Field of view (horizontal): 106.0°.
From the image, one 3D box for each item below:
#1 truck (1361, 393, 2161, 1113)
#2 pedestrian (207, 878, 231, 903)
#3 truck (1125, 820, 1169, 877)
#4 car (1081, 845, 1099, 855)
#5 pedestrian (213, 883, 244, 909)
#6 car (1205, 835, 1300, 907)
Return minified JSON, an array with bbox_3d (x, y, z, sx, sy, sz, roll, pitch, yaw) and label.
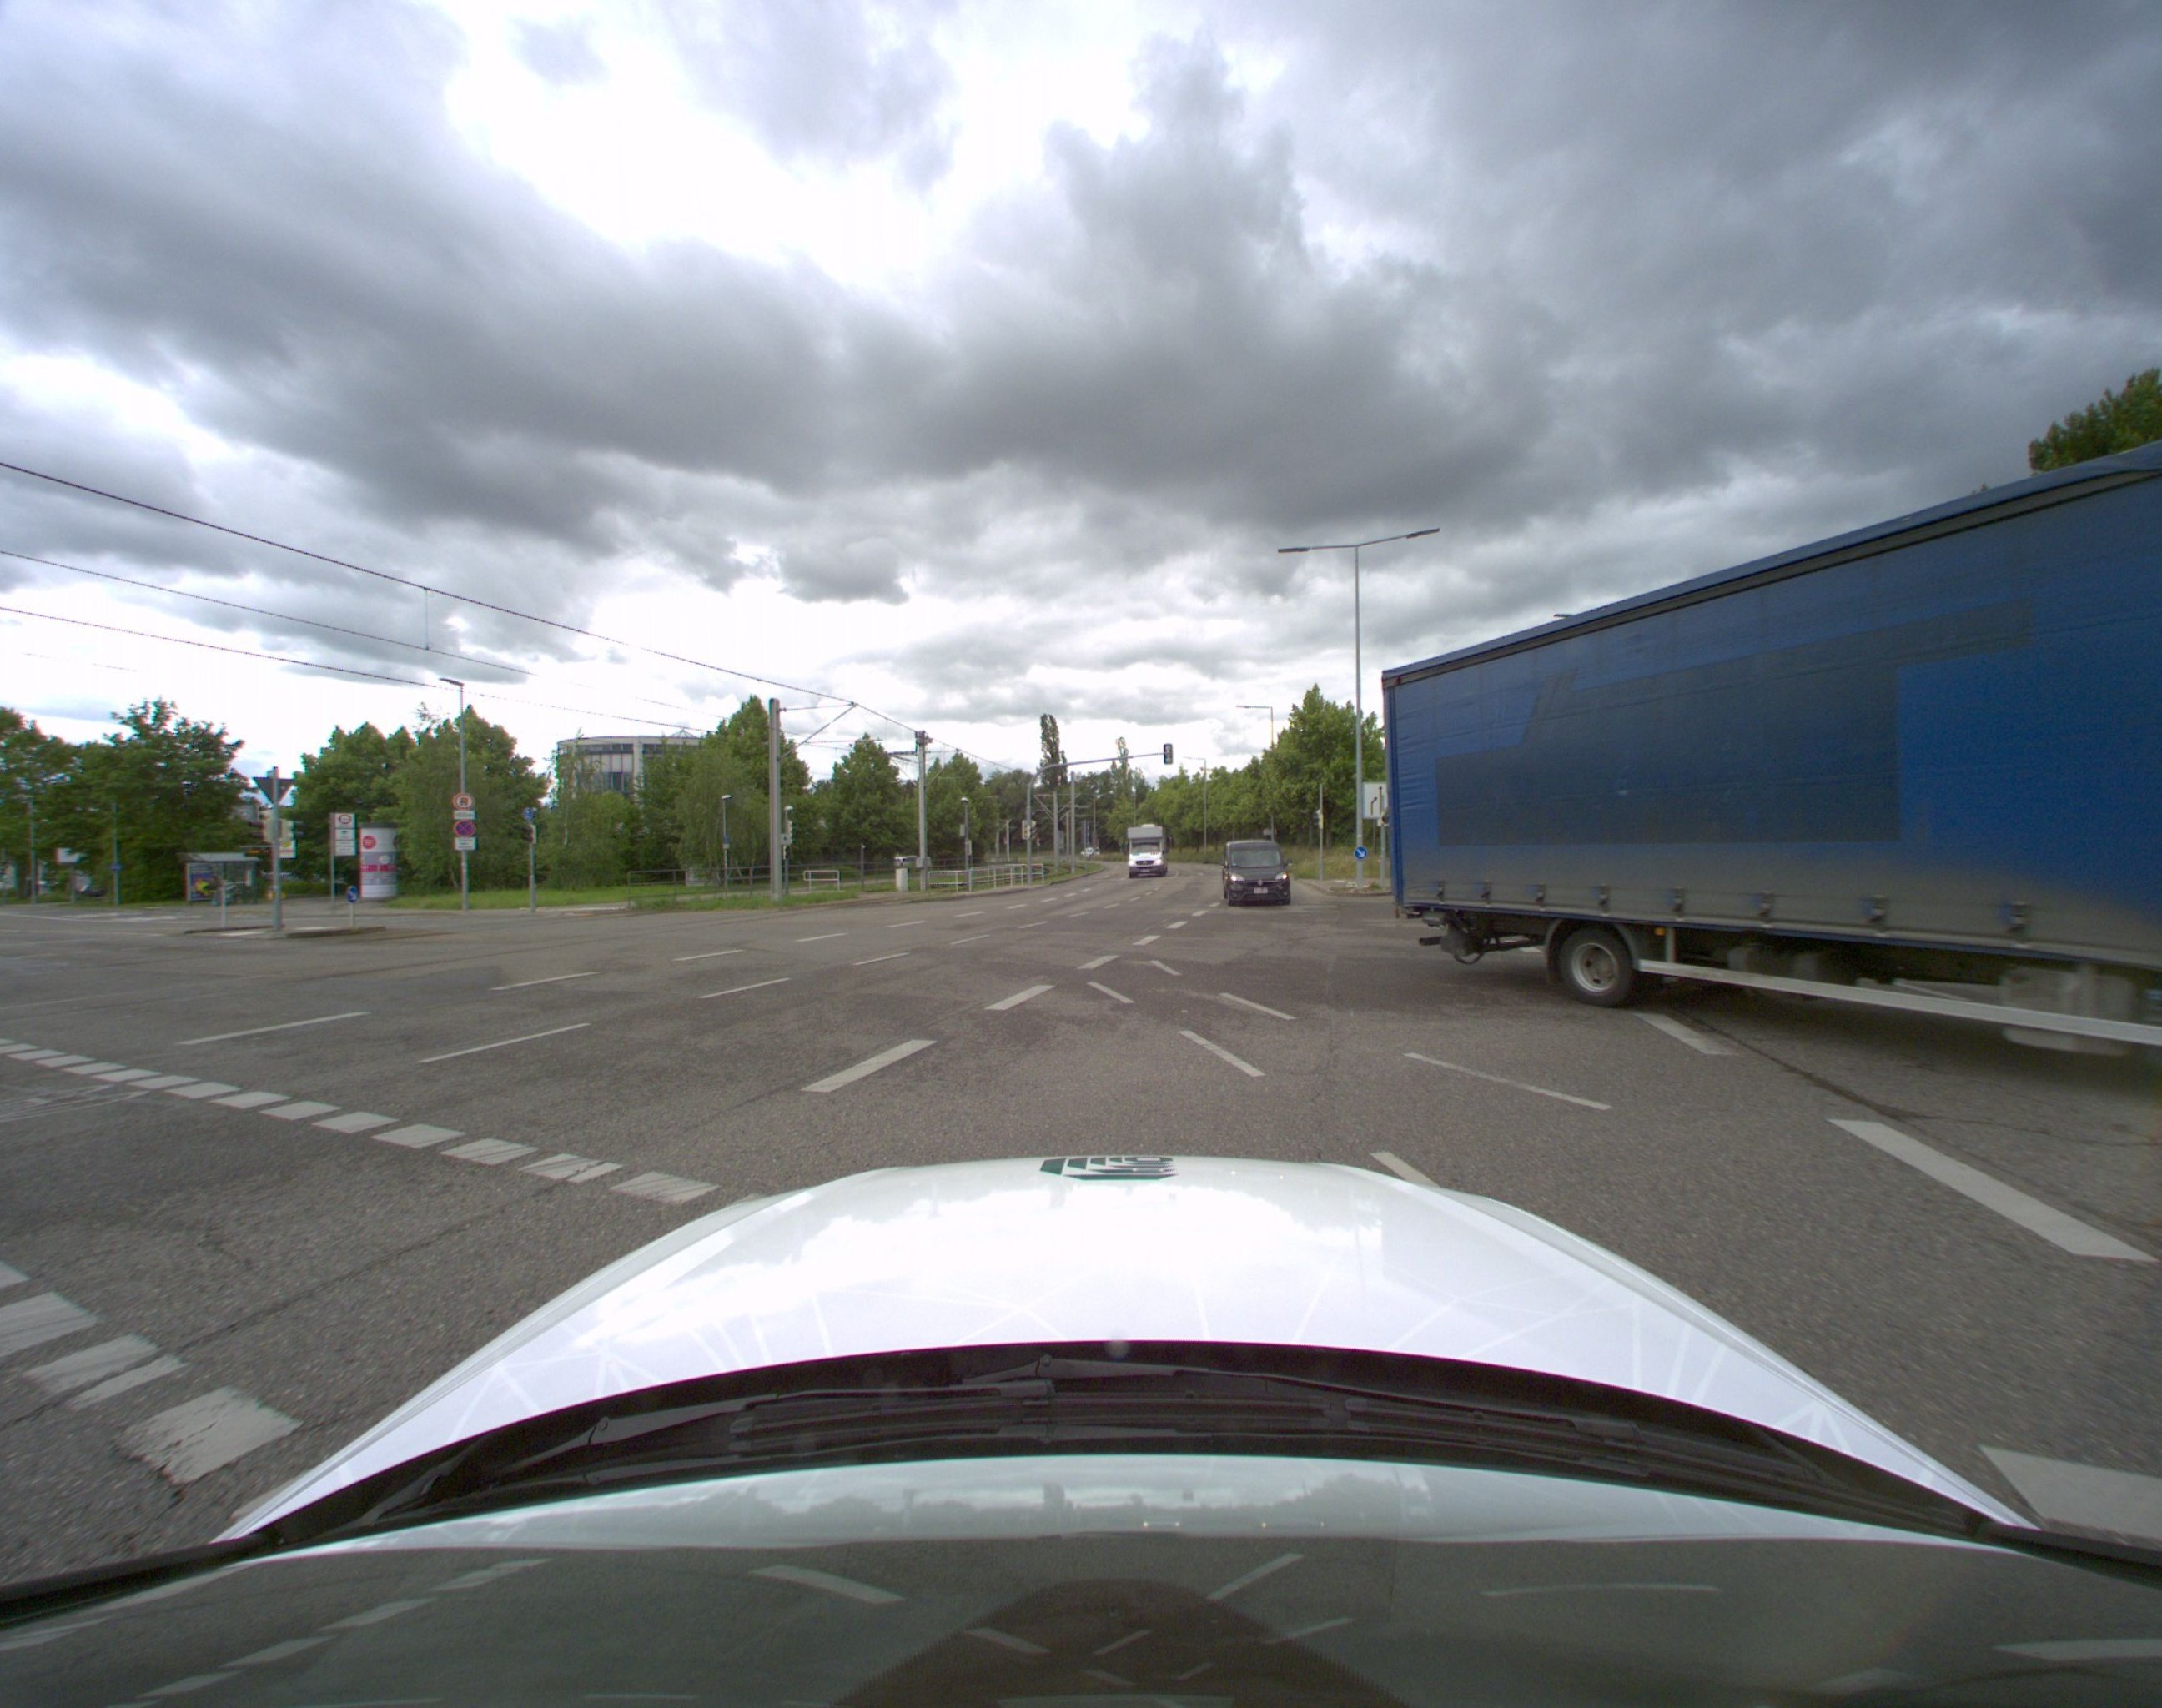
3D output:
[{"bbox_3d":[6.294,-0.553,6.907,2.787,3.804,8.334,-2,0,-19],"label":"truck"},{"bbox_3d":[-45.858,1.943,43.319,0.581,1.316,0.735,-2,0,33],"label":"pedestrian"},{"bbox_3d":[3.988,-0.315,48.375,2.093,3.010,6.286,-5,0,7],"label":"truck"},{"bbox_3d":[1.681,-0.729,153.565,2.004,1.728,3.695,-2,0,-26],"label":"car"},{"bbox_3d":[-44.622,2.192,42.640,0.770,1.252,0.773,-2,0,-10],"label":"pedestrian"},{"bbox_3d":[5.001,0.453,24.417,1.985,1.876,4.894,-2,0,3],"label":"car"}]
